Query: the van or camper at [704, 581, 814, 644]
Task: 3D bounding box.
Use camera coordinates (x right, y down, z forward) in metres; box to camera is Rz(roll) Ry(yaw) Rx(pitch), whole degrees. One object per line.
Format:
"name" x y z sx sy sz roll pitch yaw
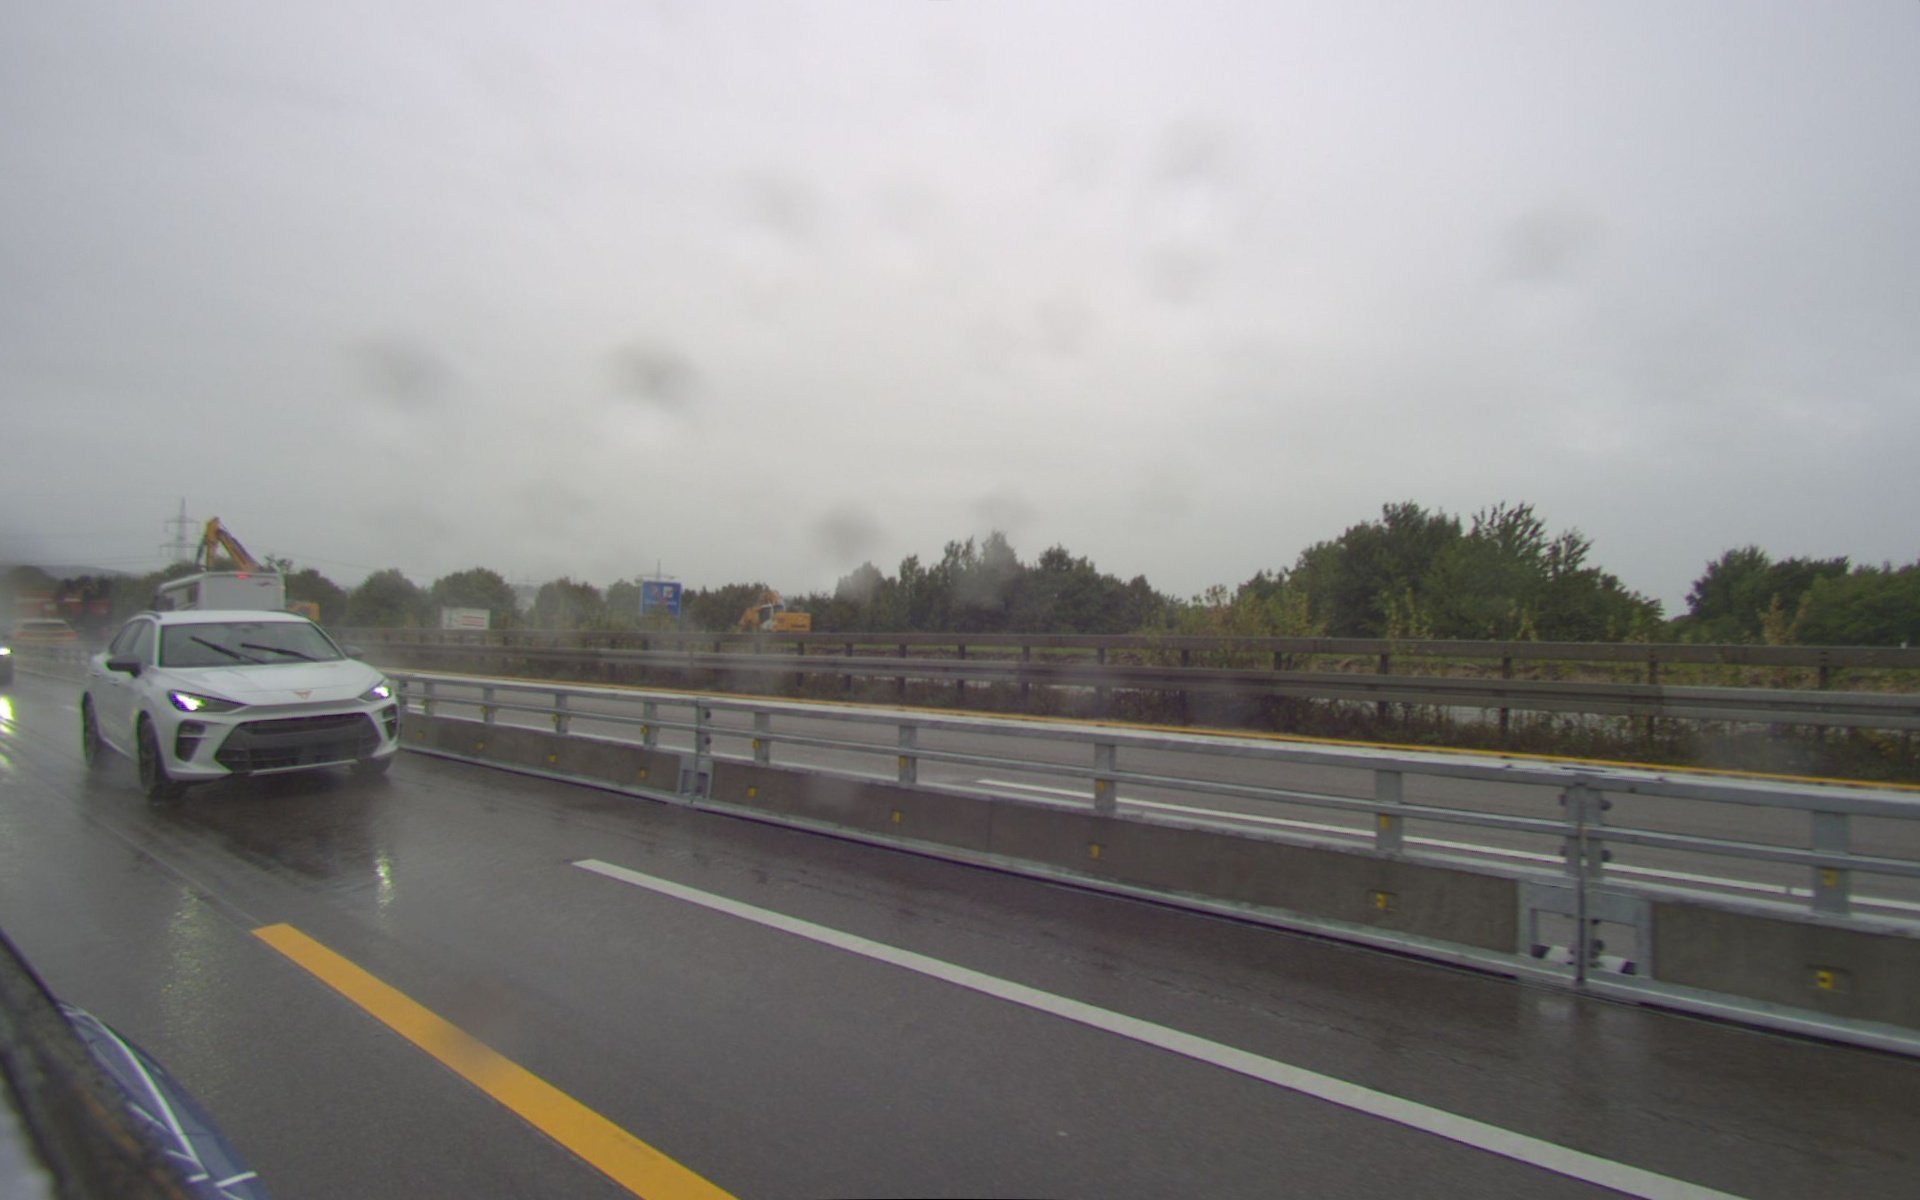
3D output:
"van or camper" -14.744 0.926 73.750 8.501 4.356 3.332 -1 0 41

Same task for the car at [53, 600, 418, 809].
"car" -7.330 0.840 10.001 5.005 1.562 1.907 -1 -2 42

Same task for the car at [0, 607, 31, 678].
"car" -24.471 1.035 24.844 5.195 1.640 2.041 -2 -2 43

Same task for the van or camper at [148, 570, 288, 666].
"van or camper" -25.076 0.594 34.112 6.219 2.940 2.459 -1 0 41

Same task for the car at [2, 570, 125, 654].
"car" -44.081 0.575 49.629 9.395 3.768 3.263 -1 0 41
